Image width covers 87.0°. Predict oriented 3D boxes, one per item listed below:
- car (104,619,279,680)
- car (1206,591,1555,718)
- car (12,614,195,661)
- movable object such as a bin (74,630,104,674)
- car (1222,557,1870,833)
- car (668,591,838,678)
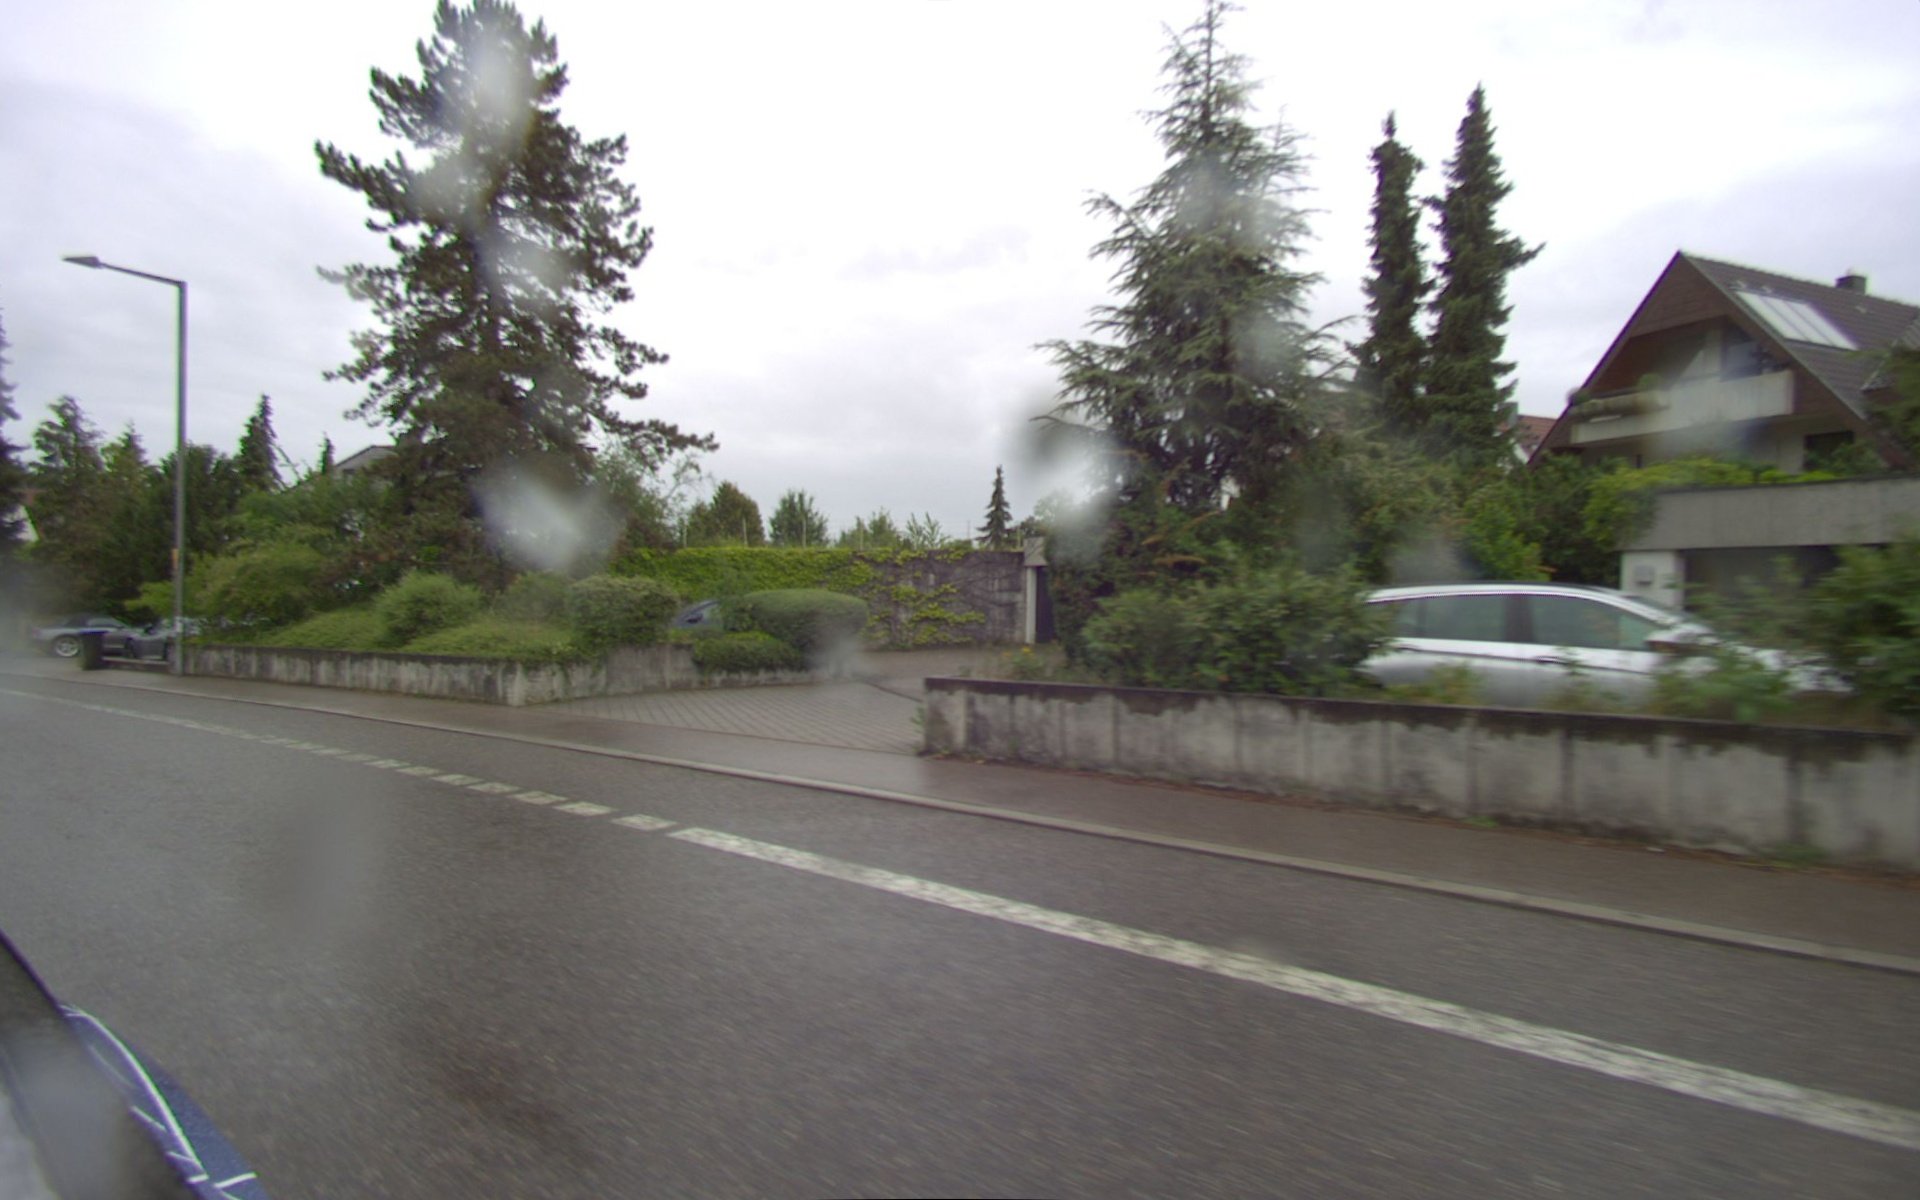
[{"bbox_3d":[-18.578,1.139,24.425,4.420,1.317,1.978,0,-1,33],"label":"car"},{"bbox_3d":[5.484,0.635,13.305,3.931,1.448,1.947,0,0,-20],"label":"car"},{"bbox_3d":[-25.922,1.100,30.734,1.871,1.281,3.950,0,0,37],"label":"car"},{"bbox_3d":[-20.159,1.185,23.419,0.556,0.995,0.367,-1,-1,31],"label":"movable object such as a bin"},{"bbox_3d":[4.235,0.567,7.784,1.714,1.563,4.003,1,-1,-44],"label":"car"},{"bbox_3d":[-4.282,0.651,20.505,1.967,1.586,4.010,0,-1,-35],"label":"car"}]
